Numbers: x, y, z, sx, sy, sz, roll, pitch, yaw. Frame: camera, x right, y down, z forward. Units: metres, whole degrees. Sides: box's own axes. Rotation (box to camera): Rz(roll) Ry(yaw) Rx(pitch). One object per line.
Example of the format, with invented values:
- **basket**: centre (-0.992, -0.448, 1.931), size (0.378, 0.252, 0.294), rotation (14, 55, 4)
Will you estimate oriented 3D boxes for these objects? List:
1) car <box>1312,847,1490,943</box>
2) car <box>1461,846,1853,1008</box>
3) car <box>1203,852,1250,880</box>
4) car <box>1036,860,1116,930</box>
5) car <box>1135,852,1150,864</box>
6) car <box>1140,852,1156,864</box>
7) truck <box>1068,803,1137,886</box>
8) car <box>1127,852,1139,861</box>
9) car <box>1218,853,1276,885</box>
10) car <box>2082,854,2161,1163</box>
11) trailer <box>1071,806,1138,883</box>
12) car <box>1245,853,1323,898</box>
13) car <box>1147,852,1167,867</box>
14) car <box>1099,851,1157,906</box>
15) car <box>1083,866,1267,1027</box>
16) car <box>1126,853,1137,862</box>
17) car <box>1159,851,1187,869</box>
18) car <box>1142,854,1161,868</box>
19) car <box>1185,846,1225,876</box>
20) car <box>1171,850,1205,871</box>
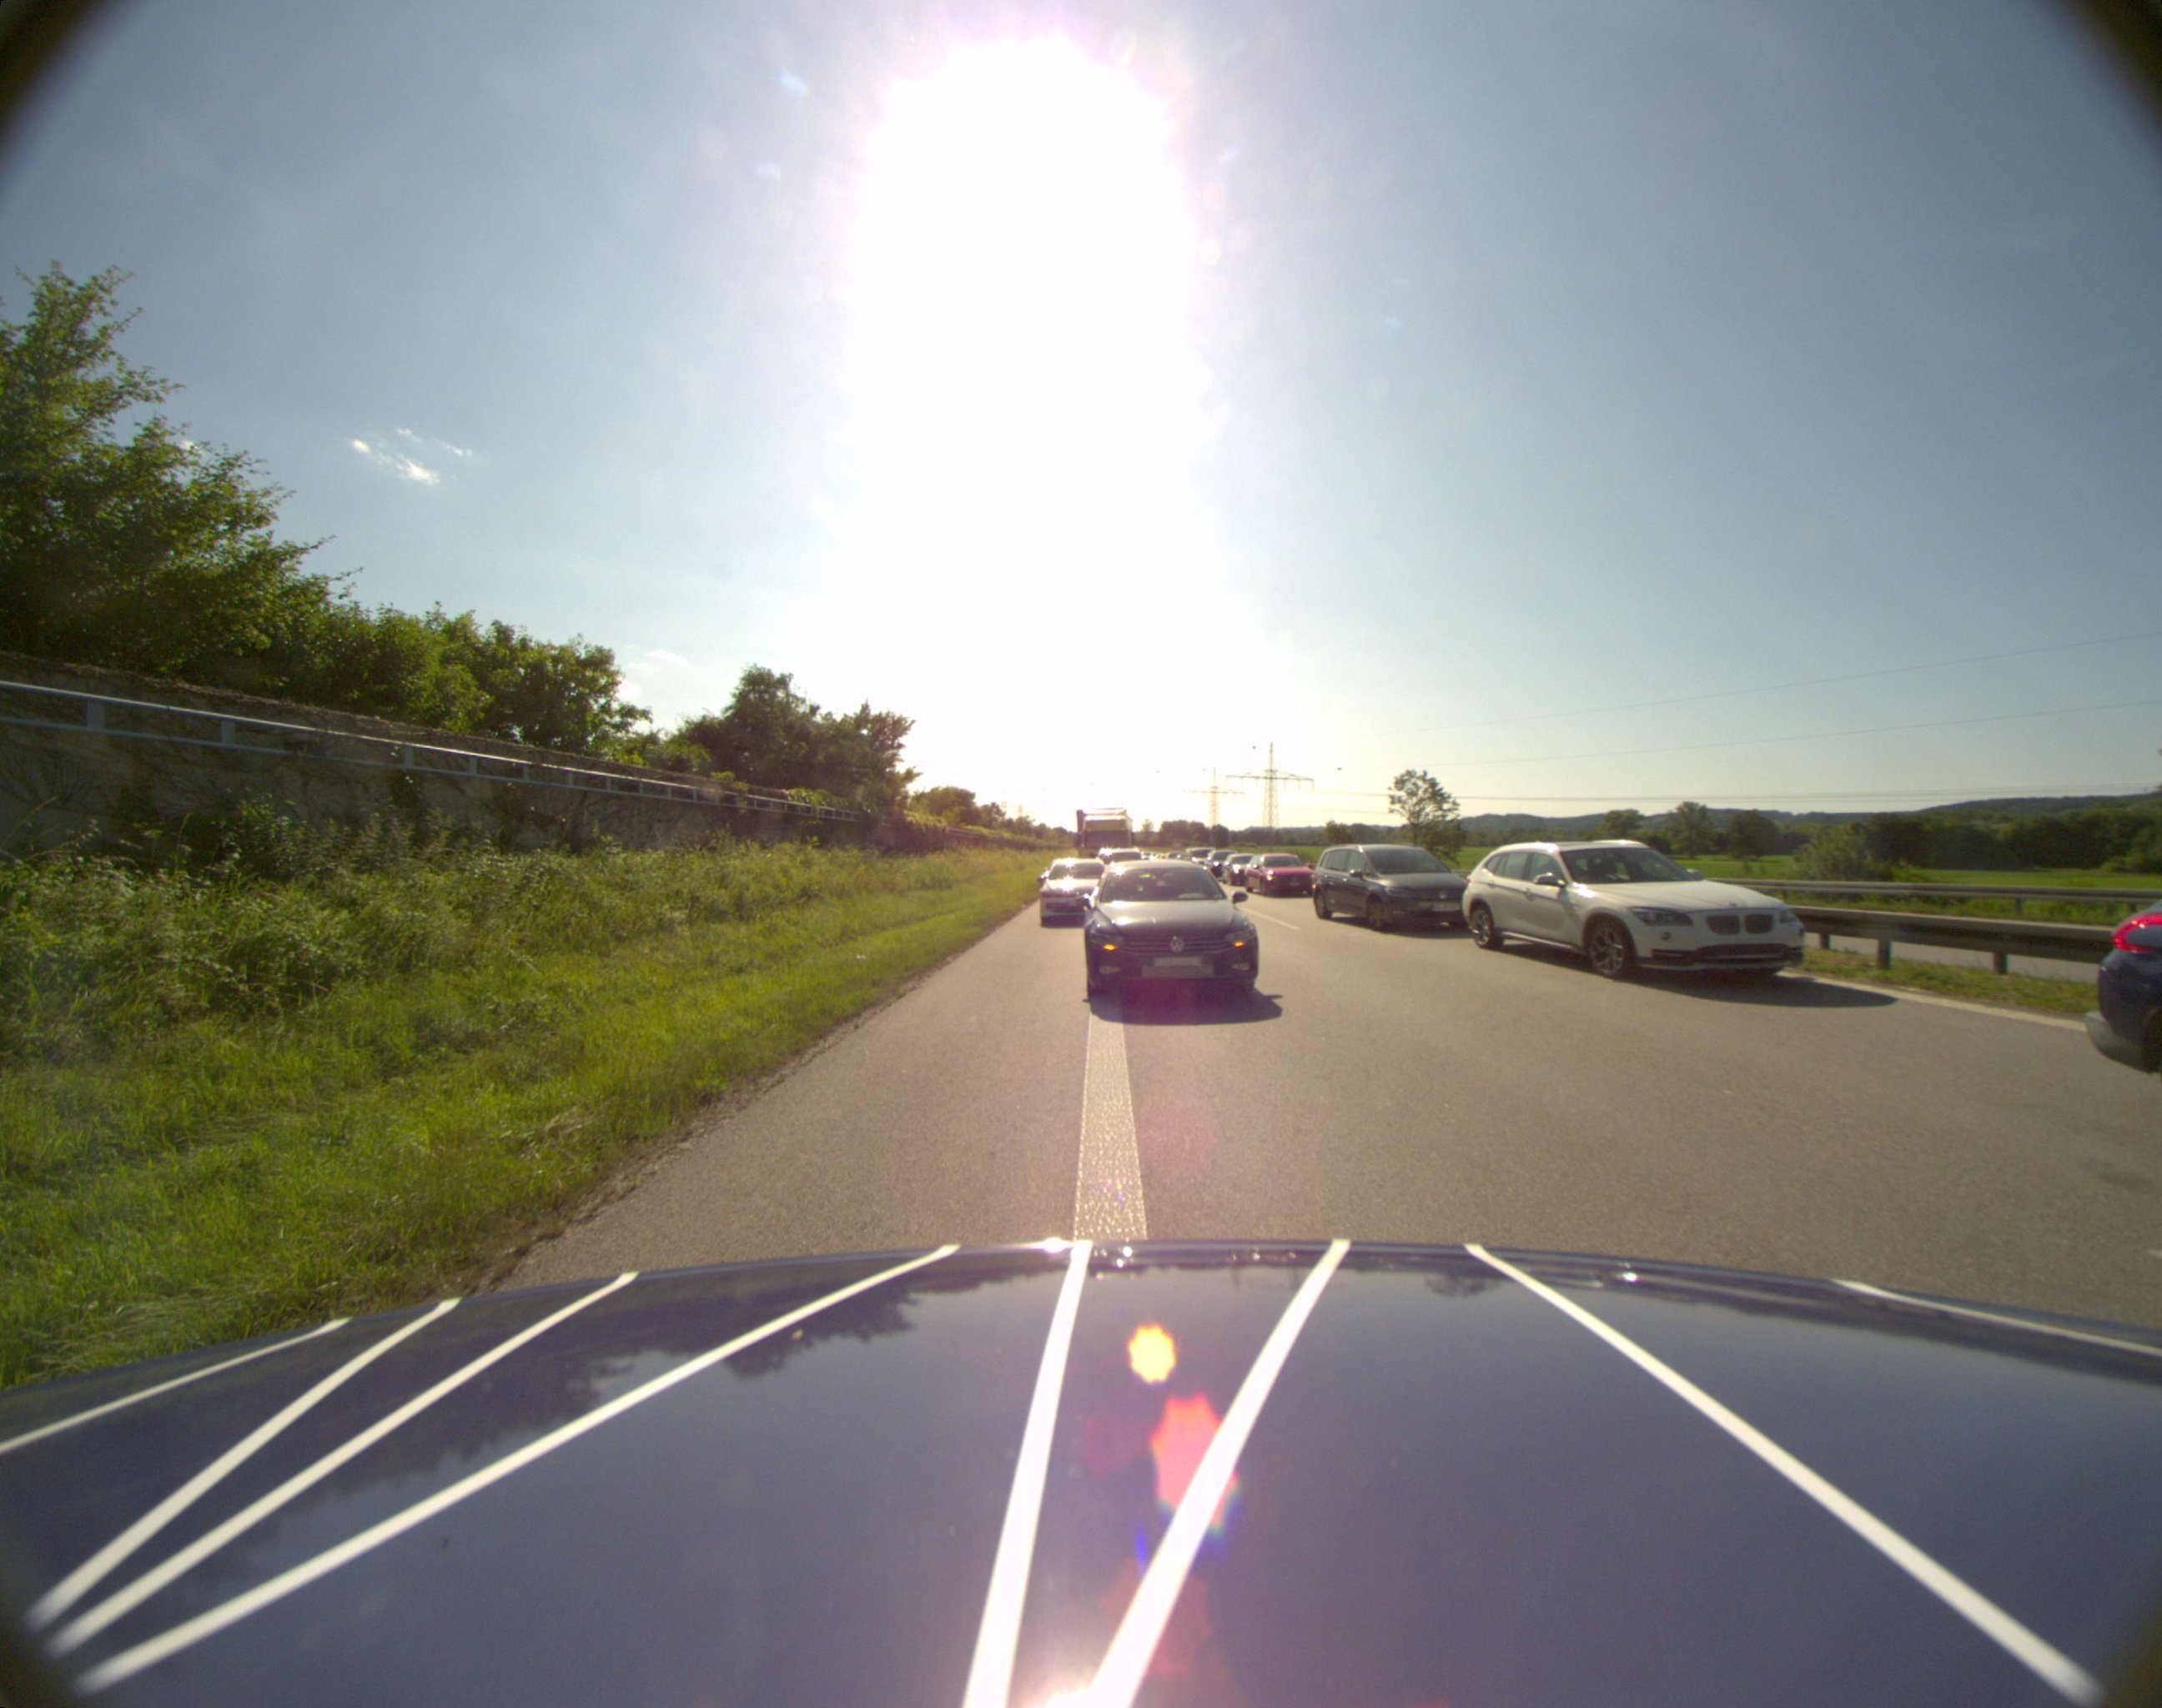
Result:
- **car**: centre (6.147, 0.701, 15.172), size (1.820, 1.607, 4.117), rotation (-2, 0, 0)
- **car**: centre (6.672, 0.708, 9.514), size (1.832, 1.564, 4.163), rotation (-1, 0, 2)
- **car**: centre (7.917, 0.614, 41.742), size (1.894, 1.446, 4.000), rotation (0, 0, 1)
- **car**: centre (-0.061, 0.915, 18.755), size (1.716, 1.417, 4.325), rotation (-2, 0, 1)
- **car**: centre (8.415, 0.544, 104.295), size (1.819, 1.450, 4.117), rotation (-2, 0, 1)
- **car**: centre (8.437, 0.507, 95.867), size (1.819, 1.450, 4.118), rotation (0, 0, 2)
- **truck**: centre (1.263, -0.521, 42.036), size (3.333, 4.089, 6.970), rotation (-2, 1, 3)
- **car**: centre (8.470, 0.376, 124.670), size (1.819, 1.450, 4.118), rotation (-2, 0, 2)
- **car**: centre (7.702, 0.672, 35.655), size (1.895, 1.390, 4.000), rotation (0, 0, 0)
- **car**: centre (6.271, 0.752, 2.114), size (1.692, 1.526, 3.947), rotation (-2, 0, -2)
- **trailer**: centre (1.776, -0.611, 48.125), size (3.386, 4.089, 13.955), rotation (-2, 1, 5)
- **car**: centre (7.099, 0.708, 26.960), size (1.819, 1.450, 4.118), rotation (0, 0, 2)
- **car**: centre (7.851, 0.555, 78.587), size (1.819, 1.450, 4.118), rotation (-2, 0, 2)
- **car**: centre (1.487, 0.742, 25.189), size (1.716, 1.614, 4.325), rotation (-2, 0, 1)
- **car**: centre (0.953, 0.920, 9.432), size (1.716, 1.405, 4.325), rotation (-2, 0, 1)
- **car**: centre (8.579, 0.532, 130.317), size (1.819, 1.450, 4.118), rotation (0, 0, 2)
- **car**: centre (7.826, 0.505, 65.082), size (1.998, 1.522, 4.000), rotation (0, 0, 1)
- **car**: centre (7.896, 0.751, 85.181), size (1.819, 1.450, 4.117), rotation (0, 0, 1)
- **car**: centre (7.882, 0.422, 48.612), size (1.902, 1.777, 4.199), rotation (0, 0, 0)
- **car**: centre (7.790, 0.458, 55.788), size (1.998, 1.522, 4.000), rotation (0, 0, 1)
